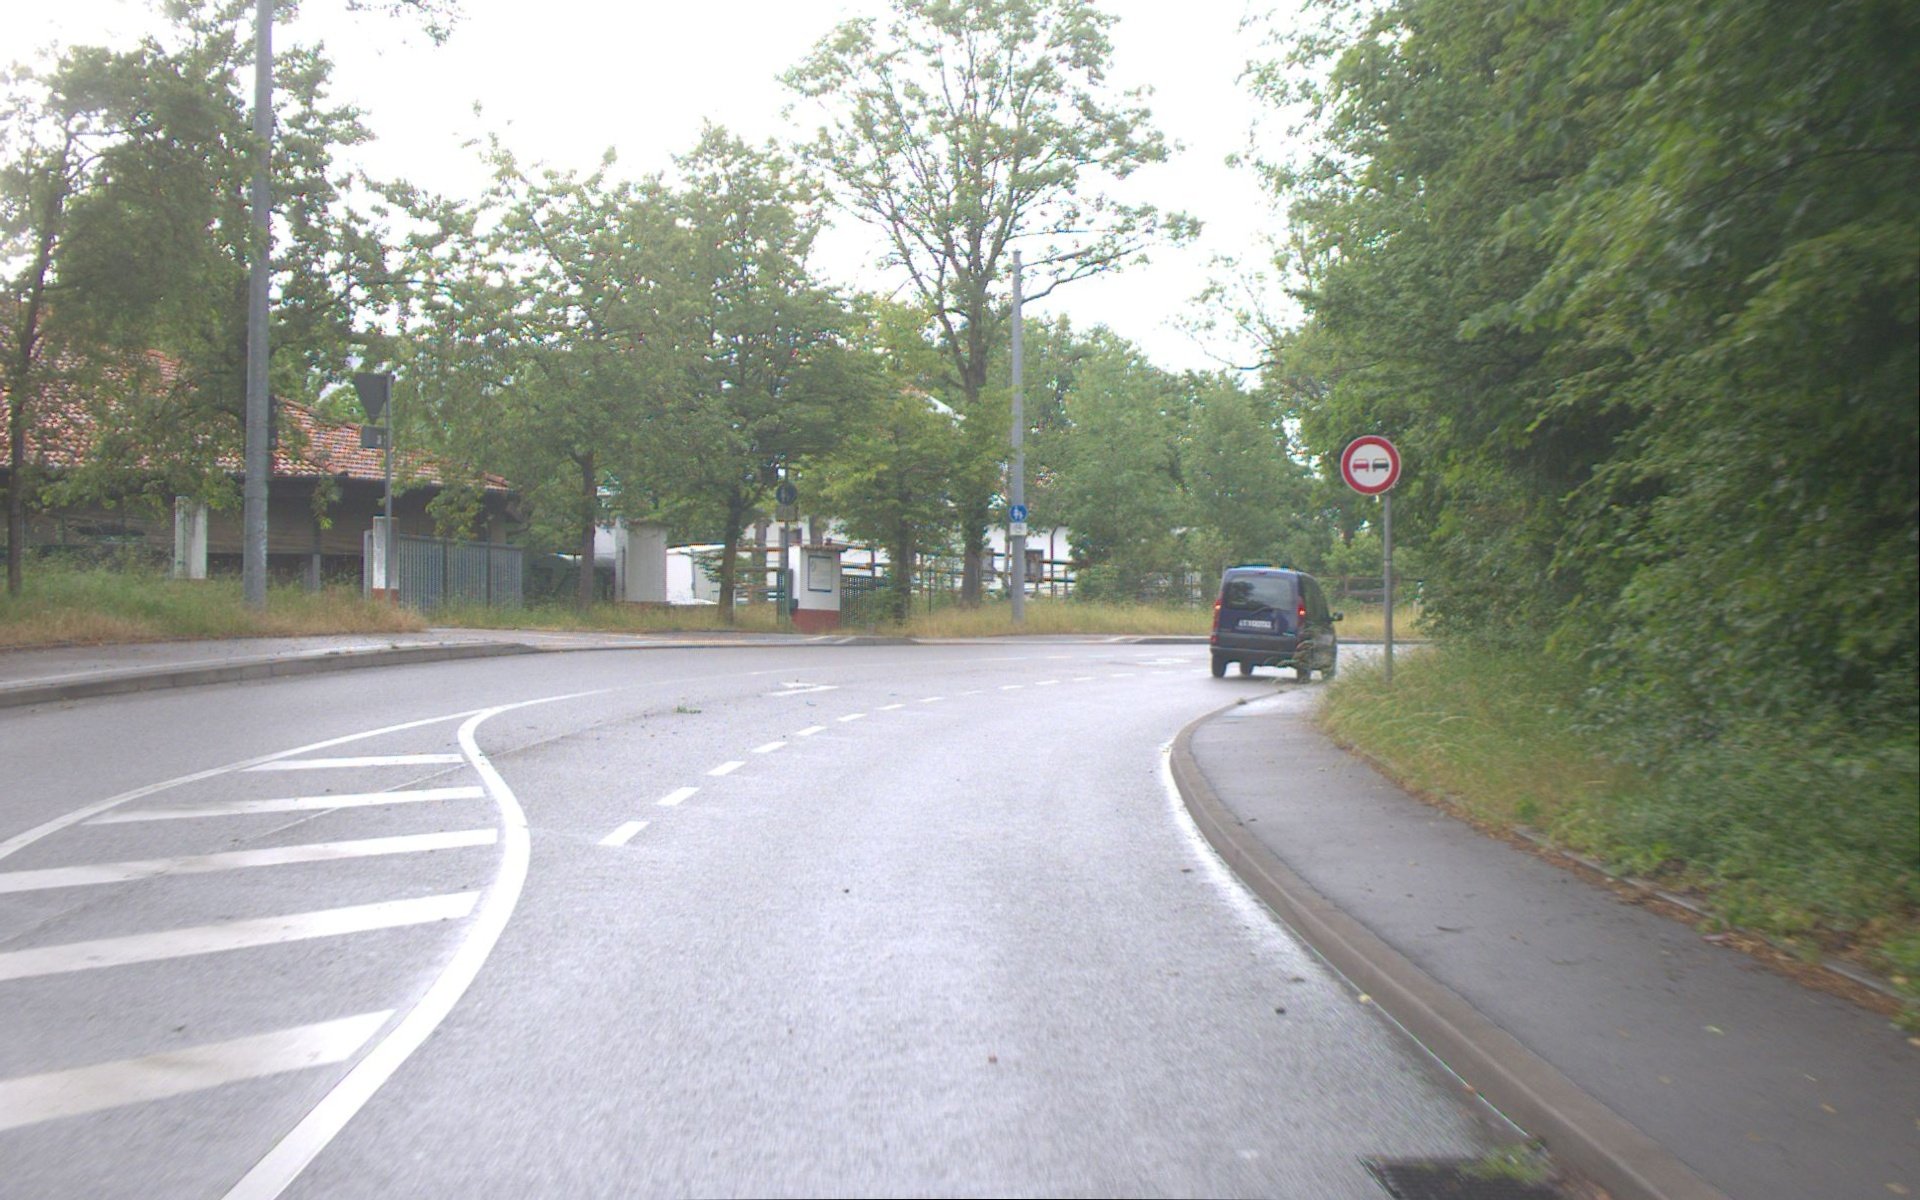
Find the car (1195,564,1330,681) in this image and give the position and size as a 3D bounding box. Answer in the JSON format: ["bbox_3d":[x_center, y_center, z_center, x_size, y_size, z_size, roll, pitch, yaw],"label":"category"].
[{"bbox_3d":[5.094,0.402,57.426,1.828,1.788,3.998,-3,-2,10],"label":"car"}]
